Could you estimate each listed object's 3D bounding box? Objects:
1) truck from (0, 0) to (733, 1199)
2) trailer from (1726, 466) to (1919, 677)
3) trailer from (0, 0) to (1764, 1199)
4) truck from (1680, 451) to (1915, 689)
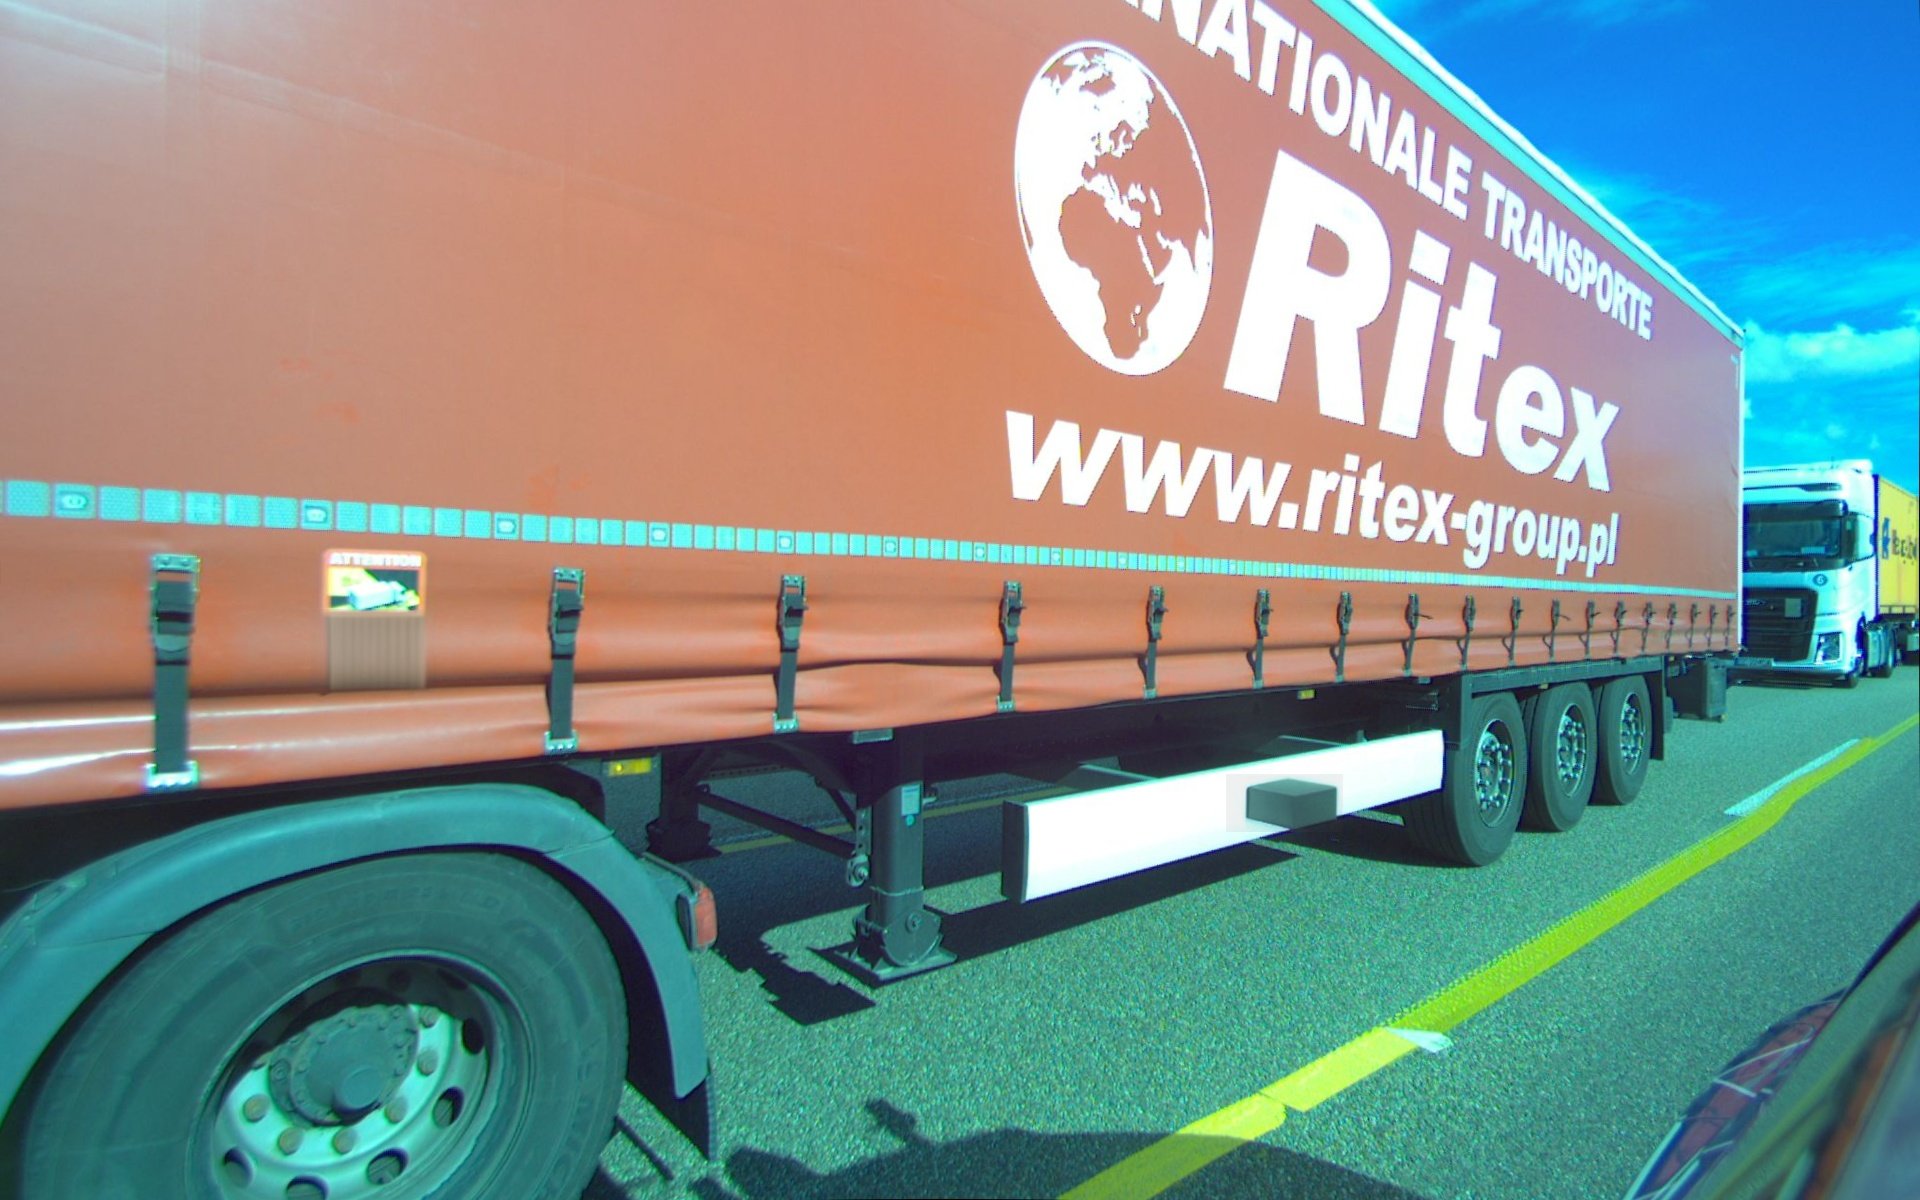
[{"bbox_3d":[-3.472,-0.634,1.379,5.612,4.009,2.672,0,0,-42],"label":"truck"},{"bbox_3d":[20.675,-0.542,23.215,11.922,3.822,2.476,0,0,-41],"label":"trailer"},{"bbox_3d":[1.620,-0.639,5.961,13.186,4.019,2.703,0,0,-42],"label":"trailer"},{"bbox_3d":[15.899,-0.511,19.089,5.688,3.828,2.499,0,0,-41],"label":"truck"}]
